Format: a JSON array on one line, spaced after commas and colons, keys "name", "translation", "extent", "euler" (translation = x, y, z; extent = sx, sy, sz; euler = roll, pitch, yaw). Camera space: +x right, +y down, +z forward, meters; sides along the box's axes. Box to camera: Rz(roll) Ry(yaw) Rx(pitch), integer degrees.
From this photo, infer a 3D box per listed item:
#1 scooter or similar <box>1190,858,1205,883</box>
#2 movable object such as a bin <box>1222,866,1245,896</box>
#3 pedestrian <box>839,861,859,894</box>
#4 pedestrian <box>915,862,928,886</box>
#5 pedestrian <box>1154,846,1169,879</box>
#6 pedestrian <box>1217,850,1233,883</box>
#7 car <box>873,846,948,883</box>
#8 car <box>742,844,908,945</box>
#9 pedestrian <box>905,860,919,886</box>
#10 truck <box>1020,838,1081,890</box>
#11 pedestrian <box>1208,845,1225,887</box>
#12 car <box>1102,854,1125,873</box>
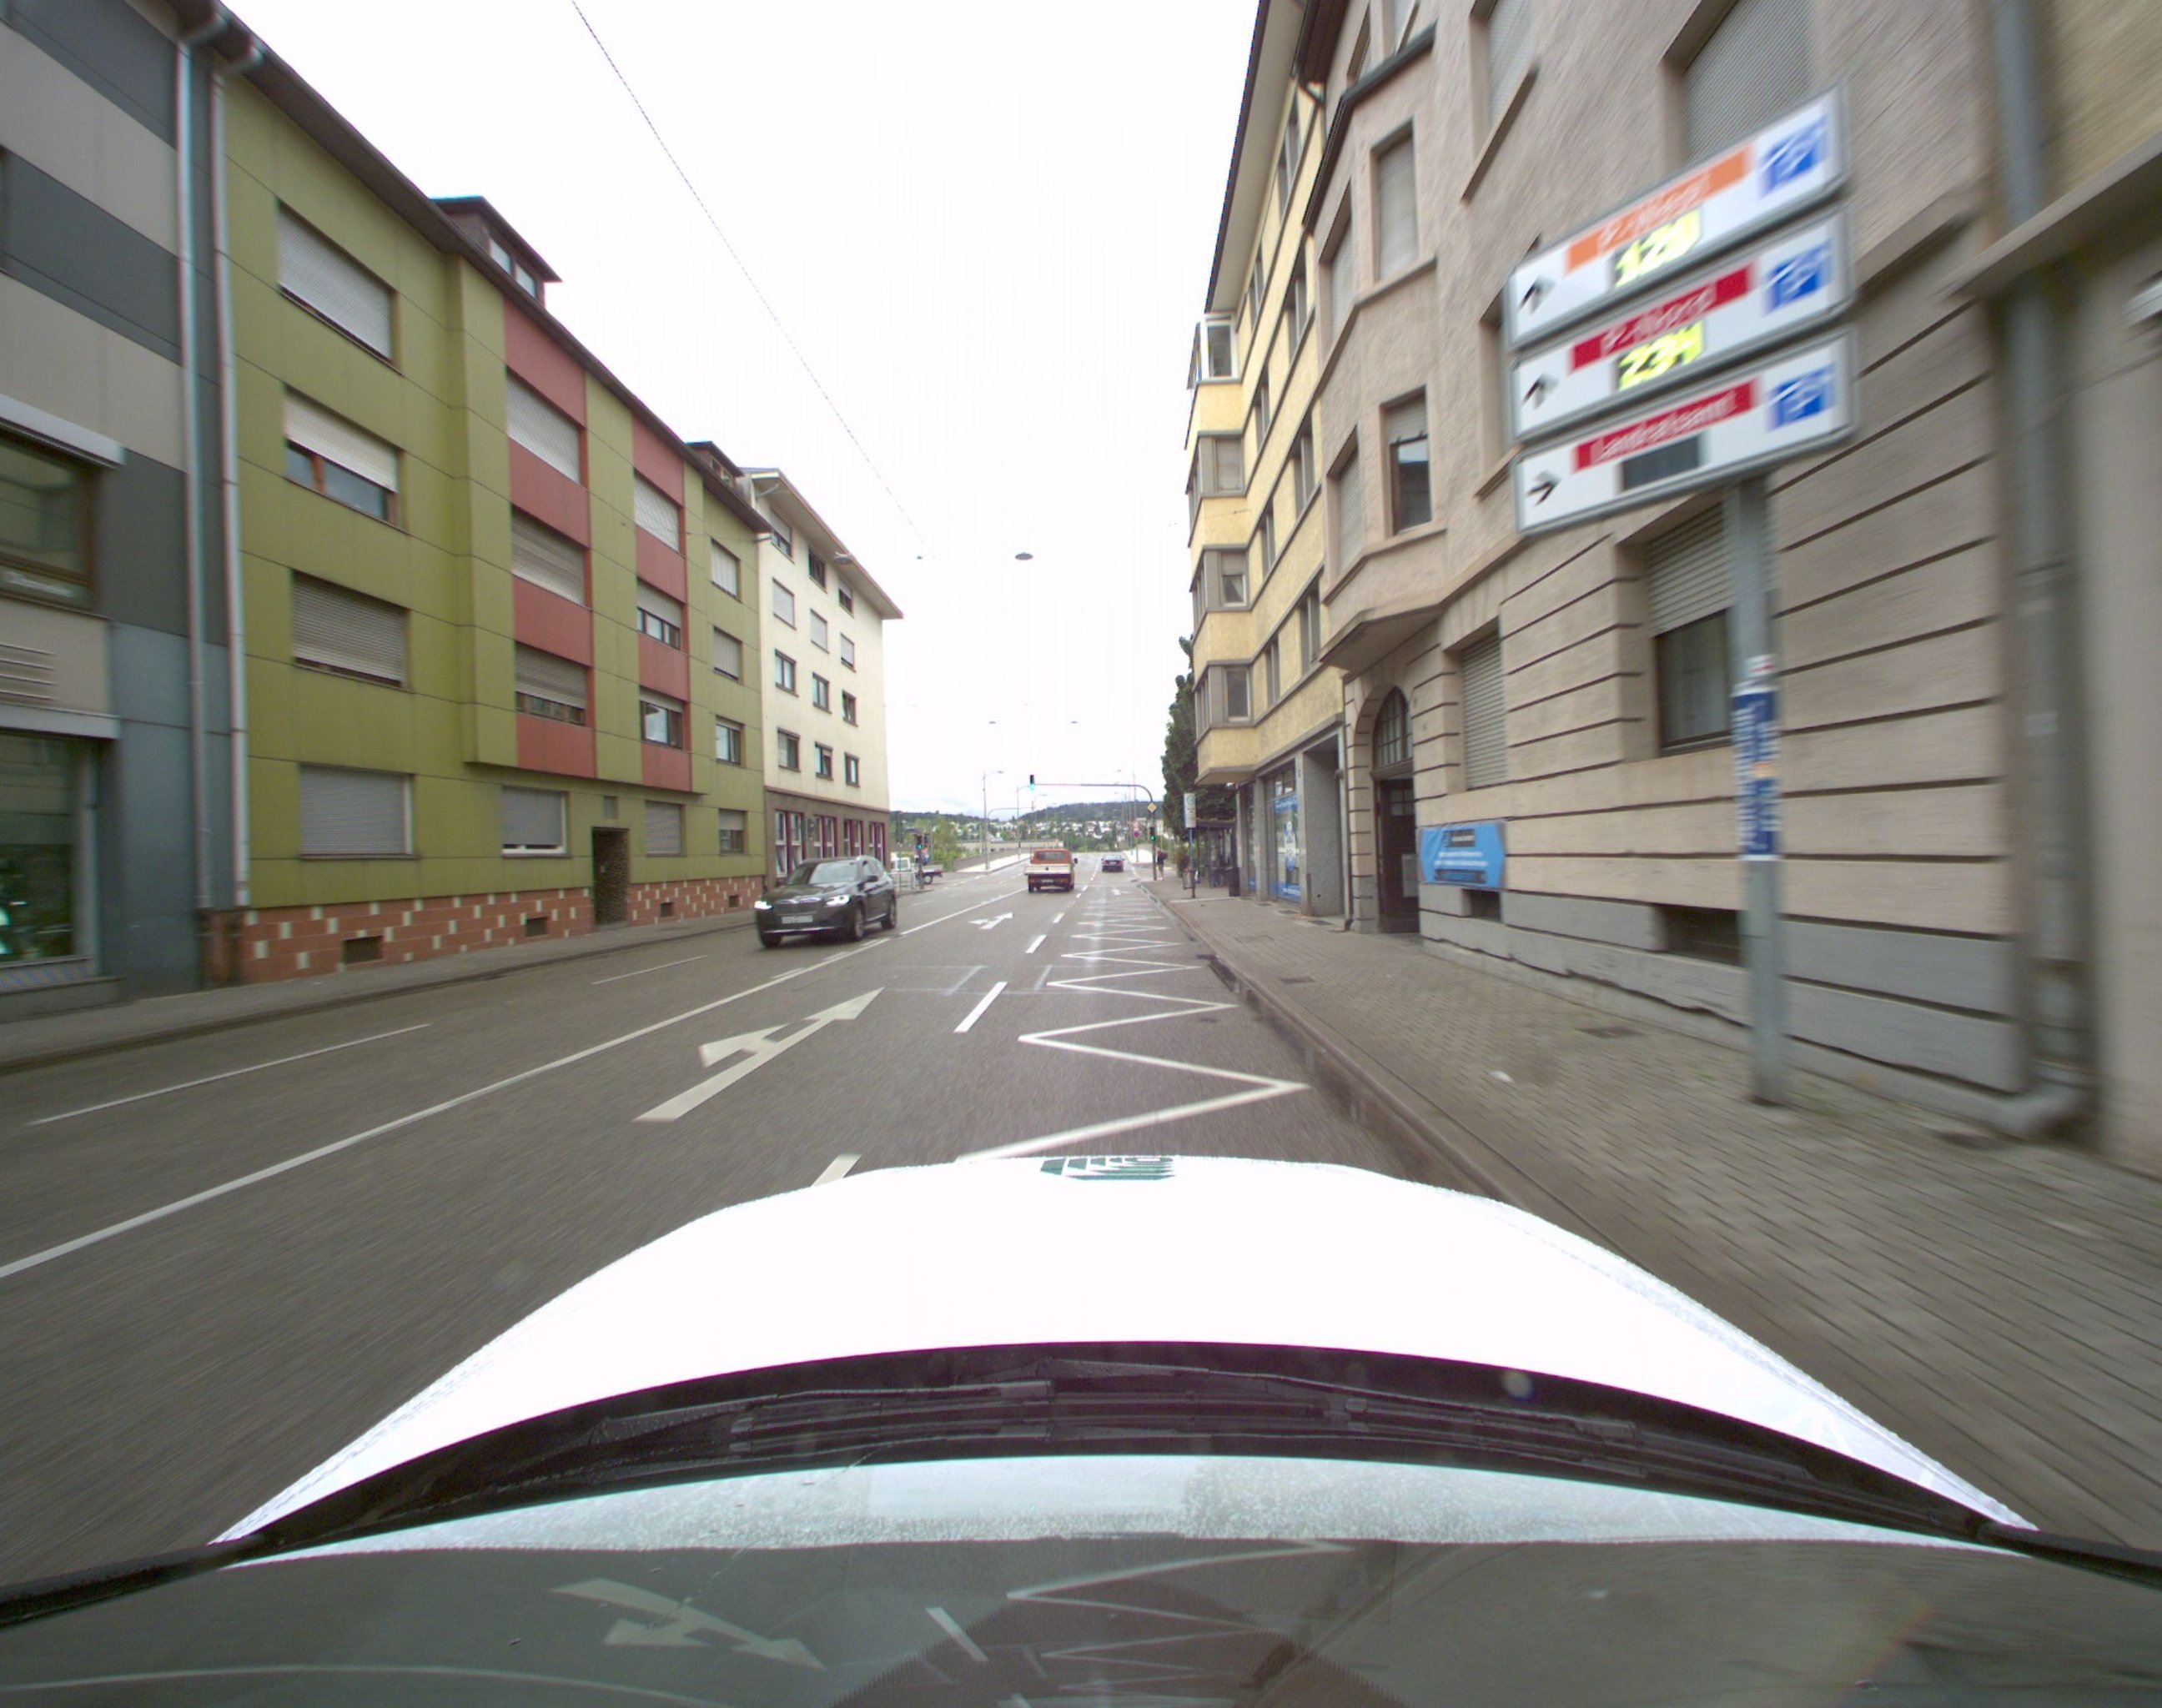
[{"name": "scooter or similar", "translation": [5.556, 0.780, 38.981], "extent": [0.509, 1.172, 1.550], "euler": [-2, -1, 2]}, {"name": "movable object such as a bin", "translation": [4.894, 0.849, 26.206], "extent": [0.598, 0.926, 0.705], "euler": [-2, -1, 2]}, {"name": "pedestrian", "translation": [-11.518, 1.153, 40.457], "extent": [0.770, 1.577, 0.589], "euler": [-2, -1, 1]}, {"name": "pedestrian", "translation": [-9.347, 1.186, 47.788], "extent": [0.542, 1.388, 0.650], "euler": [-2, -1, 3]}, {"name": "pedestrian", "translation": [4.565, 0.509, 46.414], "extent": [0.730, 1.841, 0.631], "euler": [-2, -1, 0]}, {"name": "pedestrian", "translation": [6.262, 0.550, 35.351], "extent": [0.562, 1.396, 0.514], "euler": [-2, -1, -1]}, {"name": "car", "translation": [-12.015, 0.739, 57.341], "extent": [5.004, 2.350, 1.989], "euler": [-2, -1, -16]}, {"name": "car", "translation": [-5.112, 0.751, 17.012], "extent": [1.924, 1.757, 4.572], "euler": [-2, -1, 0]}, {"name": "pedestrian", "translation": [-9.848, 1.113, 47.419], "extent": [0.640, 1.458, 0.661], "euler": [-2, -1, 0]}, {"name": "truck", "translation": [-1.310, 0.459, 37.584], "extent": [2.391, 2.129, 5.317], "euler": [-2, -1, 2]}, {"name": "pedestrian", "translation": [5.678, 0.500, 34.106], "extent": [0.616, 1.699, 0.657], "euler": [-2, -1, 6]}, {"name": "car", "translation": [2.617, 0.758, 65.423], "extent": [1.747, 1.479, 4.002], "euler": [-2, -1, 2]}]
